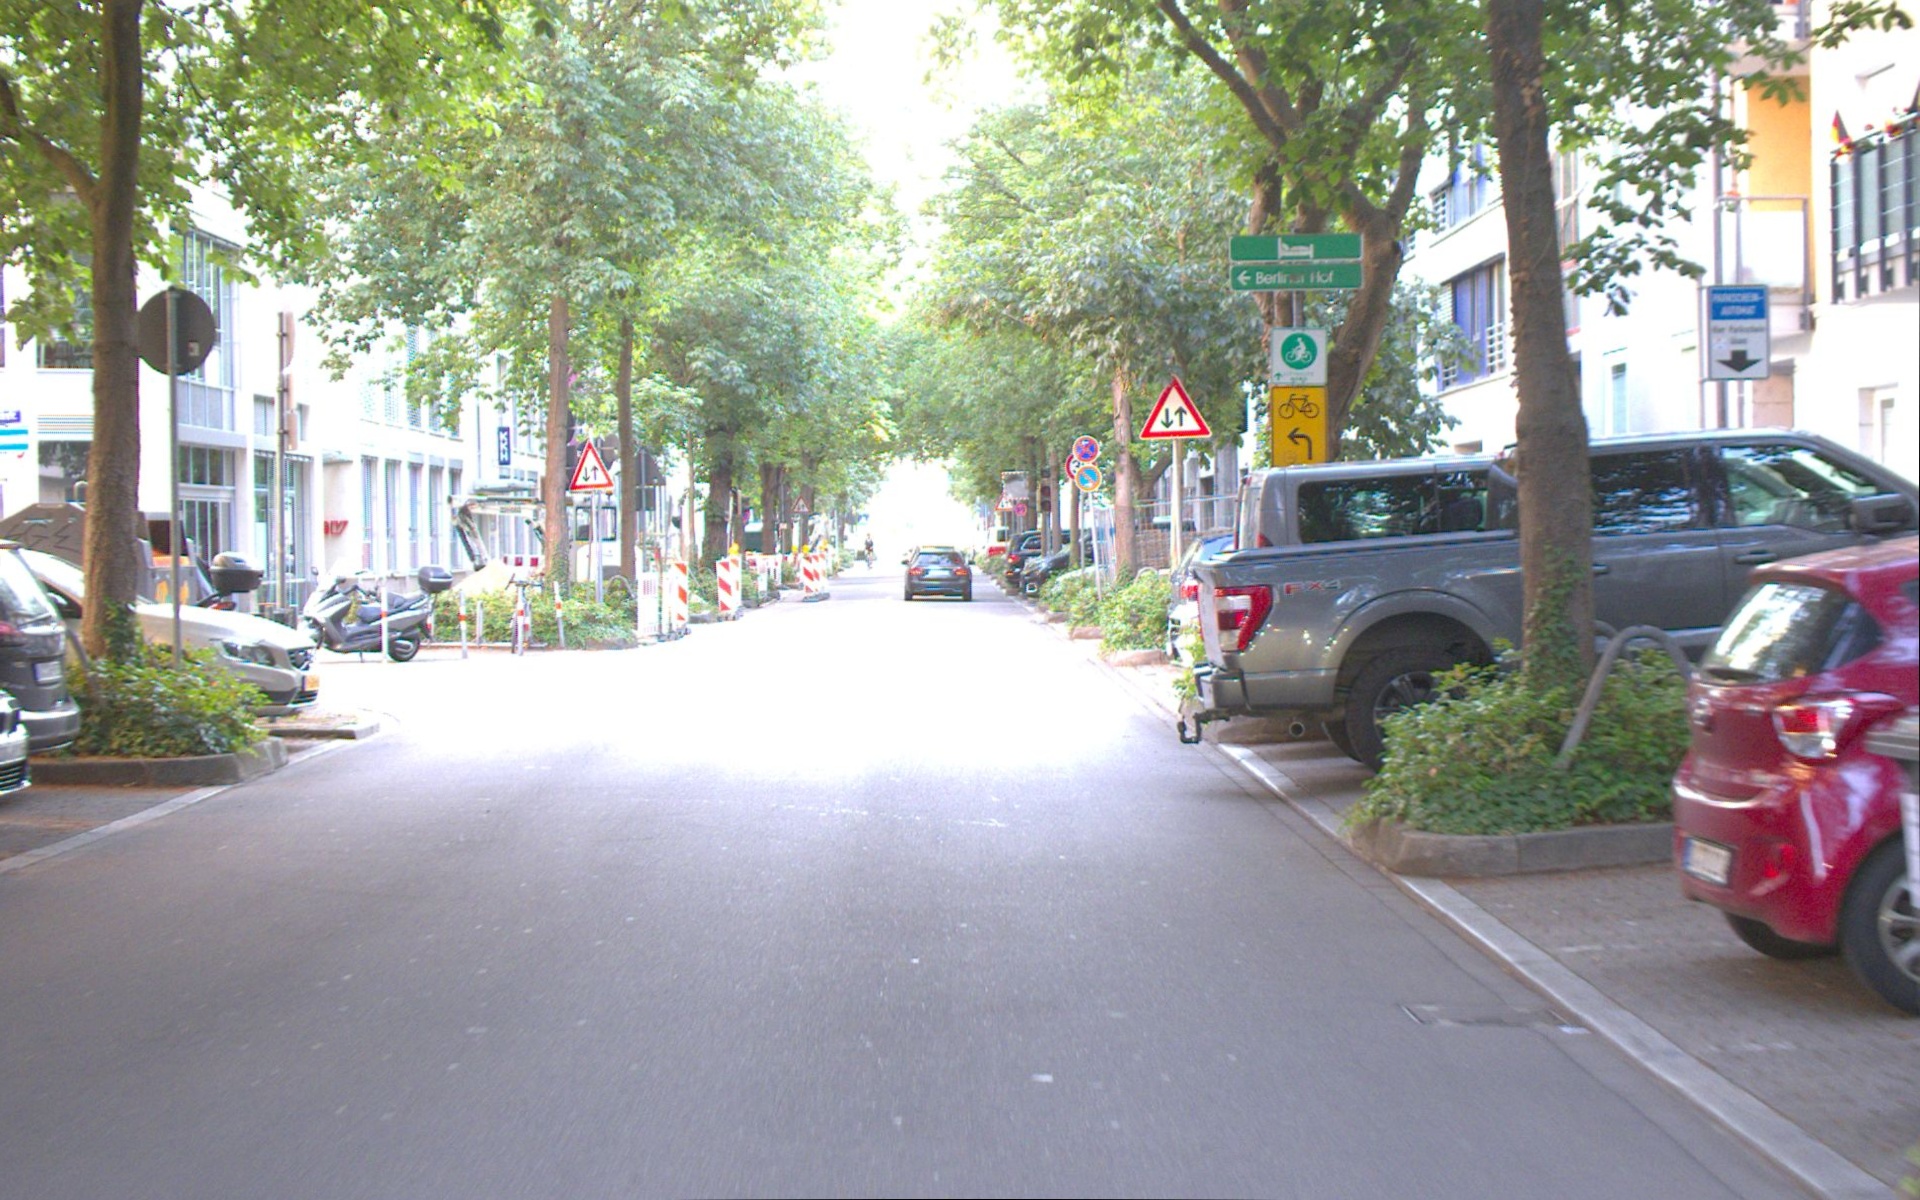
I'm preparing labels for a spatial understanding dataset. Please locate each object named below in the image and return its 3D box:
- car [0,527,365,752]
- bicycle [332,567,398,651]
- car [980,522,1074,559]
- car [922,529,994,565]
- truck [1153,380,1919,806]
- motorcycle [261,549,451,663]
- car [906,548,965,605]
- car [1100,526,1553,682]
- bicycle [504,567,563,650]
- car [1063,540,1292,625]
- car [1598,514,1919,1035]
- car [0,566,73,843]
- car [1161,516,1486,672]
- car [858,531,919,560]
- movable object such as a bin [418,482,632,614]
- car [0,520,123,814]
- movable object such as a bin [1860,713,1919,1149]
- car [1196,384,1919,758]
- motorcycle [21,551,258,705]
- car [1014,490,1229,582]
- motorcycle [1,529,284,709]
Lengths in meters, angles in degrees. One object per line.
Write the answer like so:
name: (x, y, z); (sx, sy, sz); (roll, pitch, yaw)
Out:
car: (-6.893, 0.251, 25.715); (4.498, 1.576, 2.055); (1, 1, 0)
bicycle: (-8.425, 0.119, 48.749); (0.601, 1.114, 1.800); (-1, 2, 0)
car: (2.944, -2.632, 152.017); (3.986, 1.592, 2.000); (-1, 1, -3)
car: (-0.103, -3.018, 195.970); (3.987, 2.007, 2.000); (-1, 1, 2)
truck: (4.326, -0.129, 21.087); (6.004, 2.125, 2.261); (-5, 1, 0)
motorcycle: (-7.953, 0.065, 45.373); (2.373, 1.436, 0.801); (-2, 1, -40)
car: (-0.633, -0.617, 88.801); (1.500, 1.411, 3.714); (0, 1, 0)
car: (3.746, 0.020, 35.456); (4.278, 1.503, 1.873); (-1, 1, -11)
bicycle: (-6.085, 0.105, 49.089); (0.601, 1.114, 1.800); (-1, 2, 0)
car: (4.262, -0.350, 67.819); (4.437, 1.586, 1.629); (-1, 1, 2)
car: (4.186, 0.419, 11.396); (3.664, 1.543, 1.781); (-4, 0, -2)
car: (-7.347, 0.541, 18.366); (4.715, 1.419, 2.072); (0, 1, -2)
car: (3.978, -0.084, 38.046); (3.350, 1.520, 1.746); (-3, 1, 1)
car: (-4.922, -3.760, 237.421); (3.986, 1.908, 1.778); (-1, 1, -8)
movable object such as a bin: (-7.978, -0.957, 63.373); (3.665, 2.325, 2.584); (-1, 1, -2)
car: (-7.469, 0.332, 20.676); (4.395, 1.679, 2.064); (1, 1, -2)
movable object such as a bin: (2.776, 0.832, 8.798); (0.774, 1.064, 0.589); (-1, 1, -1)
car: (4.093, -0.209, 23.801); (4.620, 2.125, 2.037); (-4, 1, 0)
motorcycle: (-7.550, 0.245, 31.589); (2.221, 1.369, 0.722); (0, 1, 30)
car: (3.793, -1.512, 81.296); (4.971, 2.080, 1.738); (-1, 1, 0)
motorcycle: (-6.957, 0.155, 29.306); (2.217, 1.488, 0.691); (-1, 1, 2)
